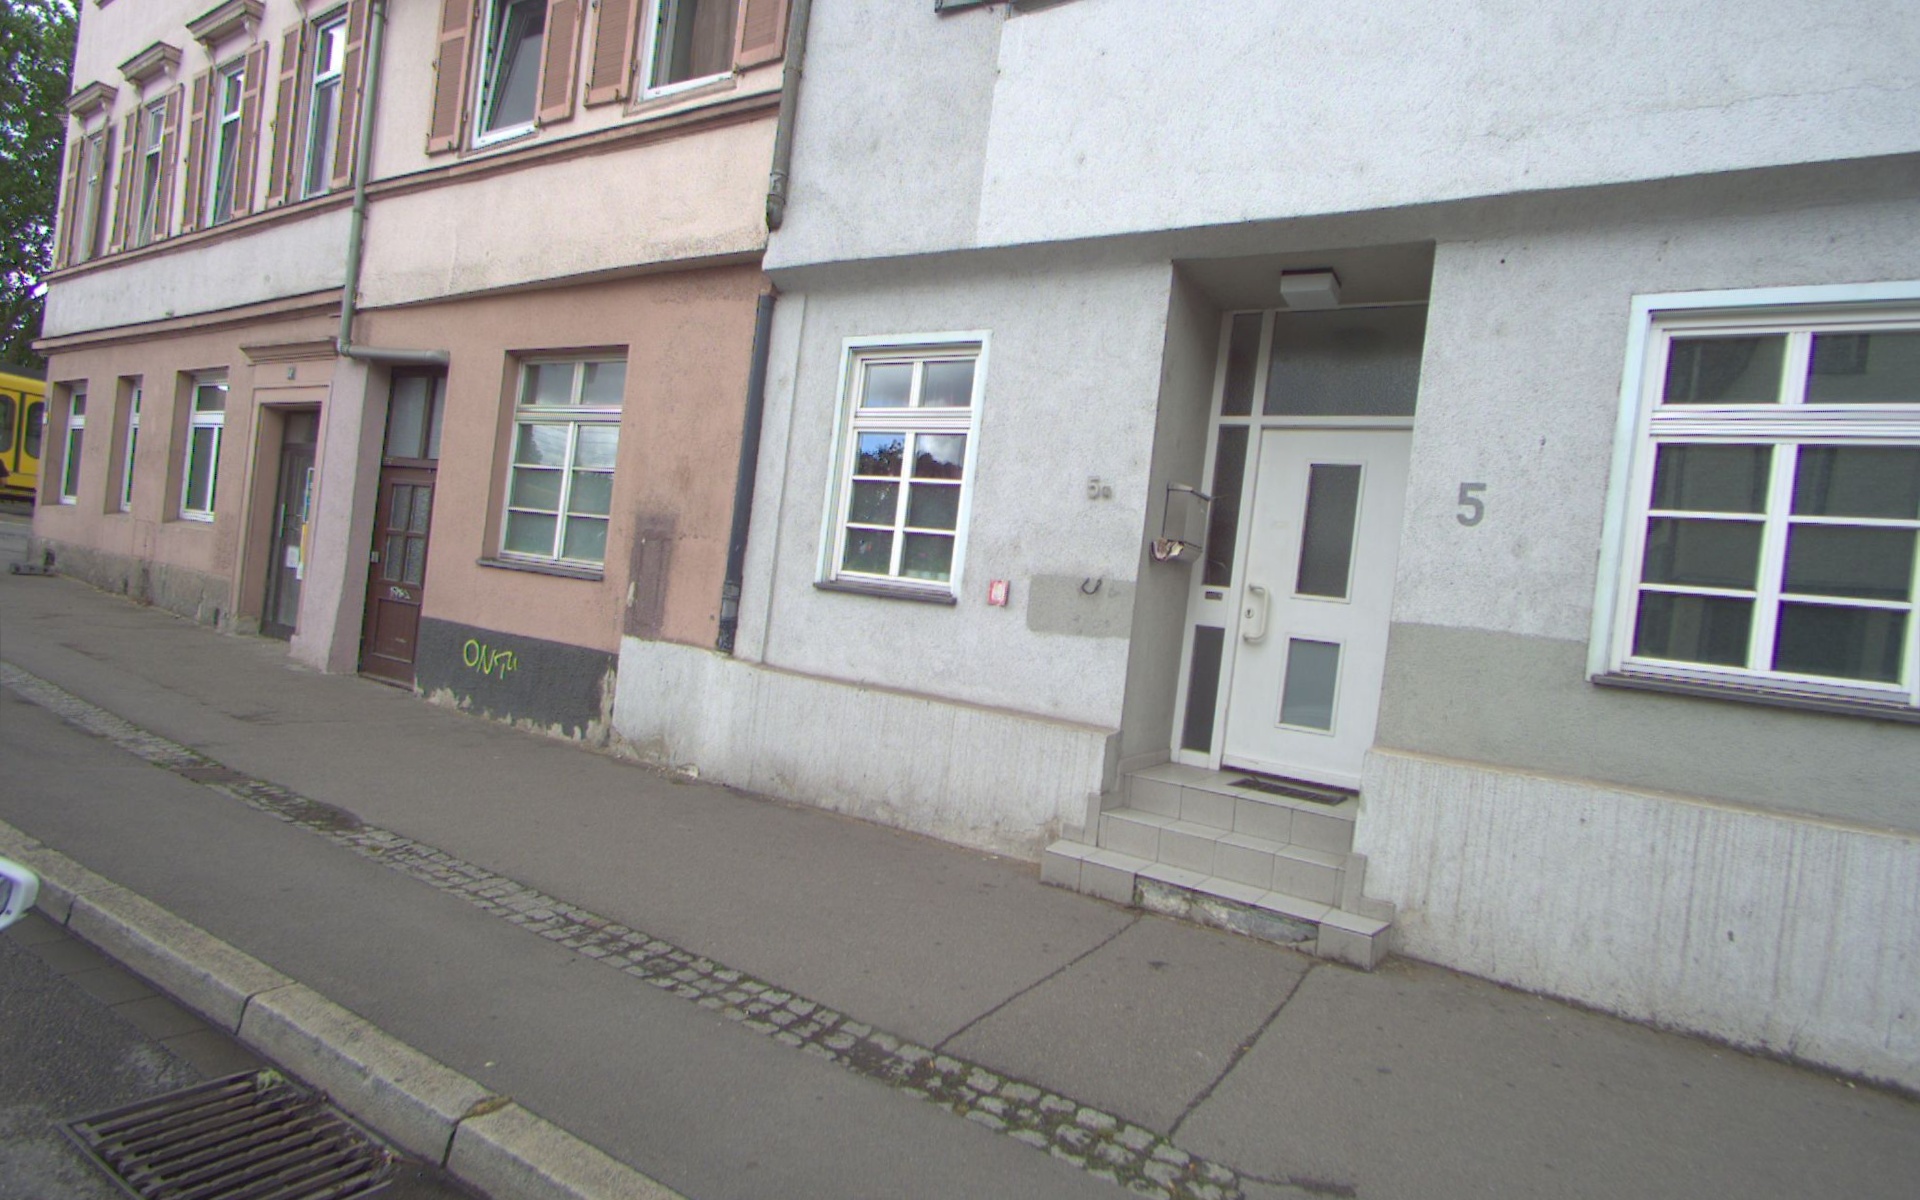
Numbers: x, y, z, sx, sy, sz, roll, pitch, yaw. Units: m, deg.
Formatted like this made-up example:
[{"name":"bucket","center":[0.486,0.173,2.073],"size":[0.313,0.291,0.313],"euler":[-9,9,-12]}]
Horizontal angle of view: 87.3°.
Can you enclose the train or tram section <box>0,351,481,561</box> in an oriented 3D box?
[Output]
[{"name":"train or tram section","center":[-23.596,-4.192,29.811],"size":[3.207,4.053,18.812],"euler":[10,1,26]}]

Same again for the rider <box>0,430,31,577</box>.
[{"name":"rider","center":[-12.774,-1.301,13.056],"size":[0.784,1.871,0.719],"euler":[7,1,29]}]
